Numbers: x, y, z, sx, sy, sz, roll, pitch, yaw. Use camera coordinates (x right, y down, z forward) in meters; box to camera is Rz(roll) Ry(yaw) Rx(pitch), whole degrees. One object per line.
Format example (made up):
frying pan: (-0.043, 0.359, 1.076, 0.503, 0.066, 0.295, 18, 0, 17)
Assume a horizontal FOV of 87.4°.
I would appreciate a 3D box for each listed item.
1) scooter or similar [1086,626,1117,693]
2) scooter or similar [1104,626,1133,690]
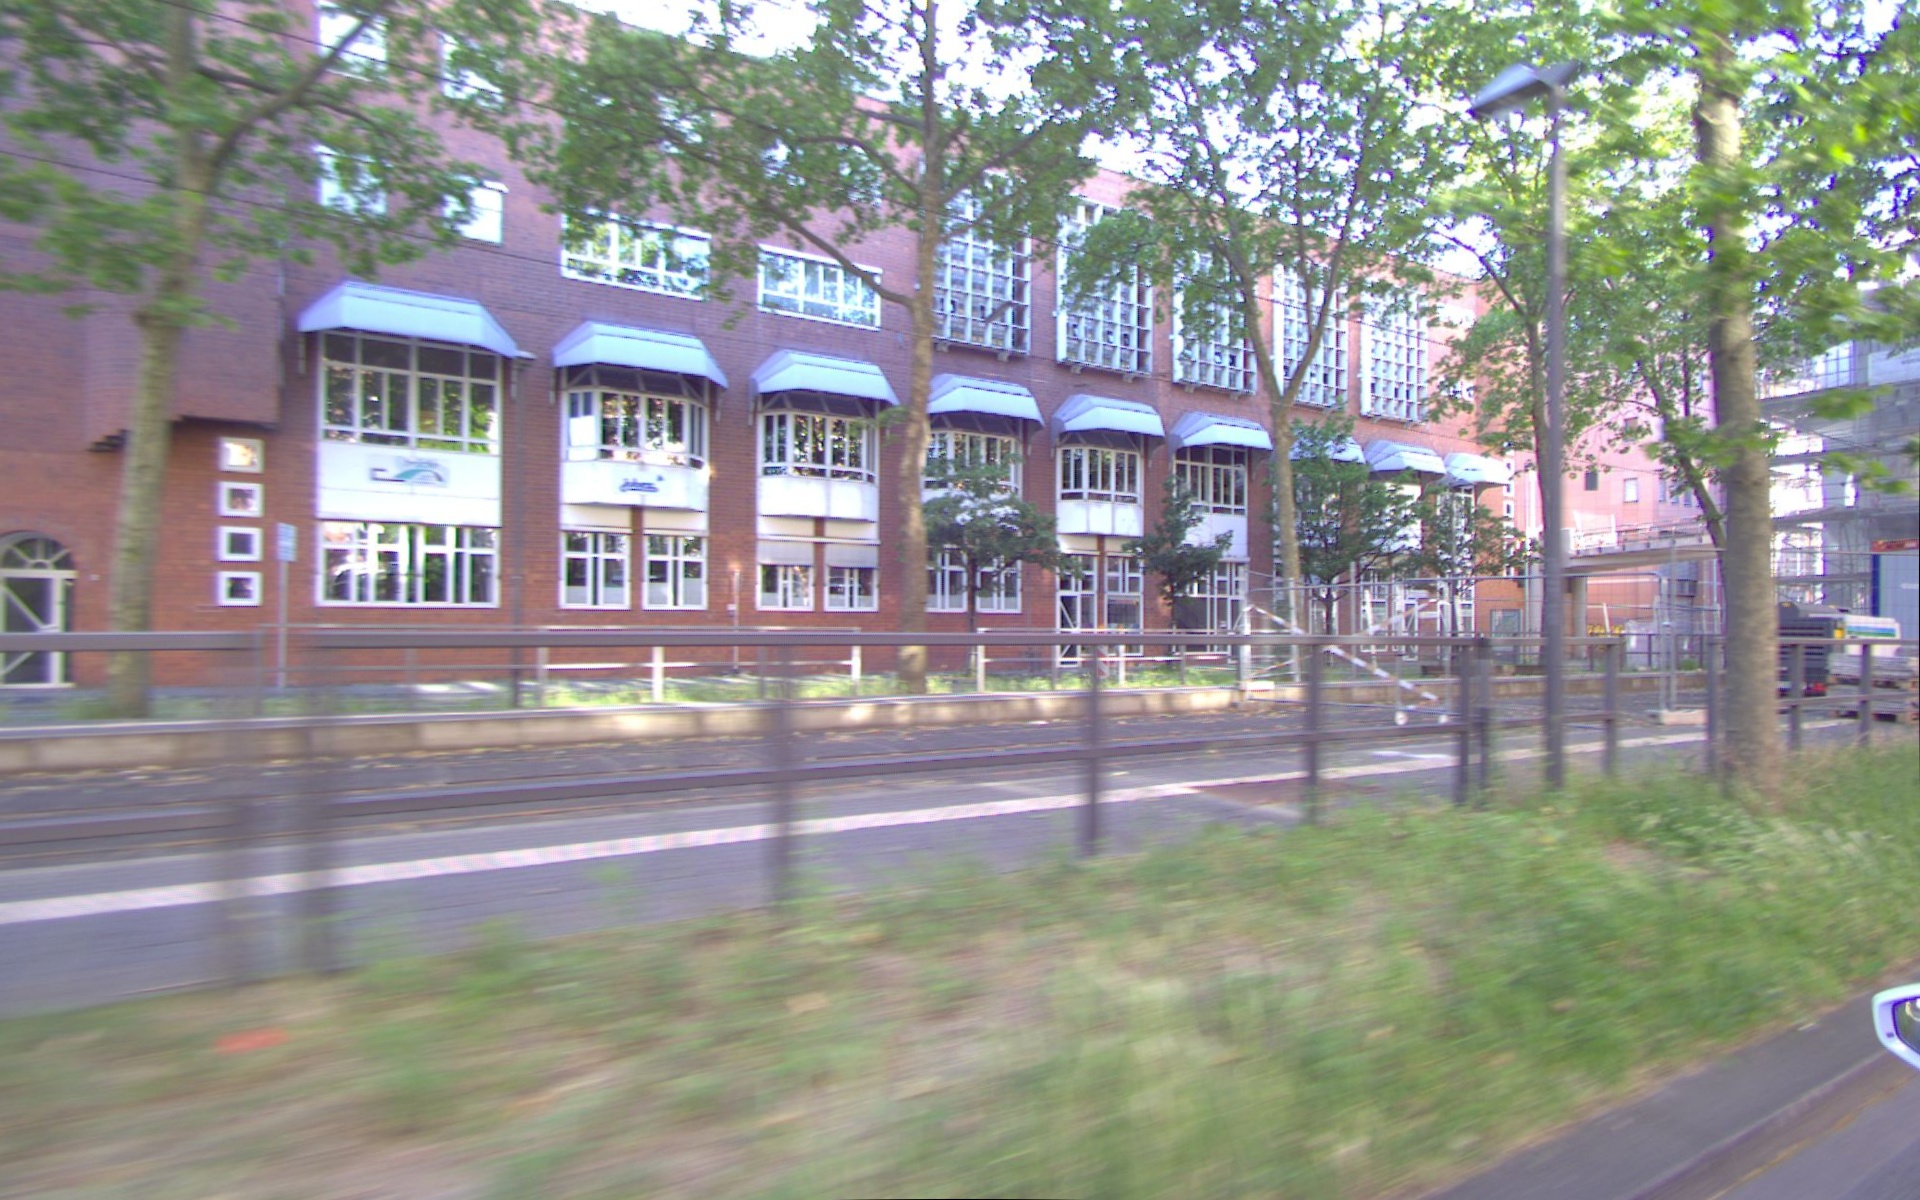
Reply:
scooter or similar: (3.768, 1.582, 26.834, 0.570, 1.749, 0.525, 2, 0, -39)
scooter or similar: (4.430, 1.606, 28.098, 0.570, 1.749, 0.525, 2, 0, -39)
